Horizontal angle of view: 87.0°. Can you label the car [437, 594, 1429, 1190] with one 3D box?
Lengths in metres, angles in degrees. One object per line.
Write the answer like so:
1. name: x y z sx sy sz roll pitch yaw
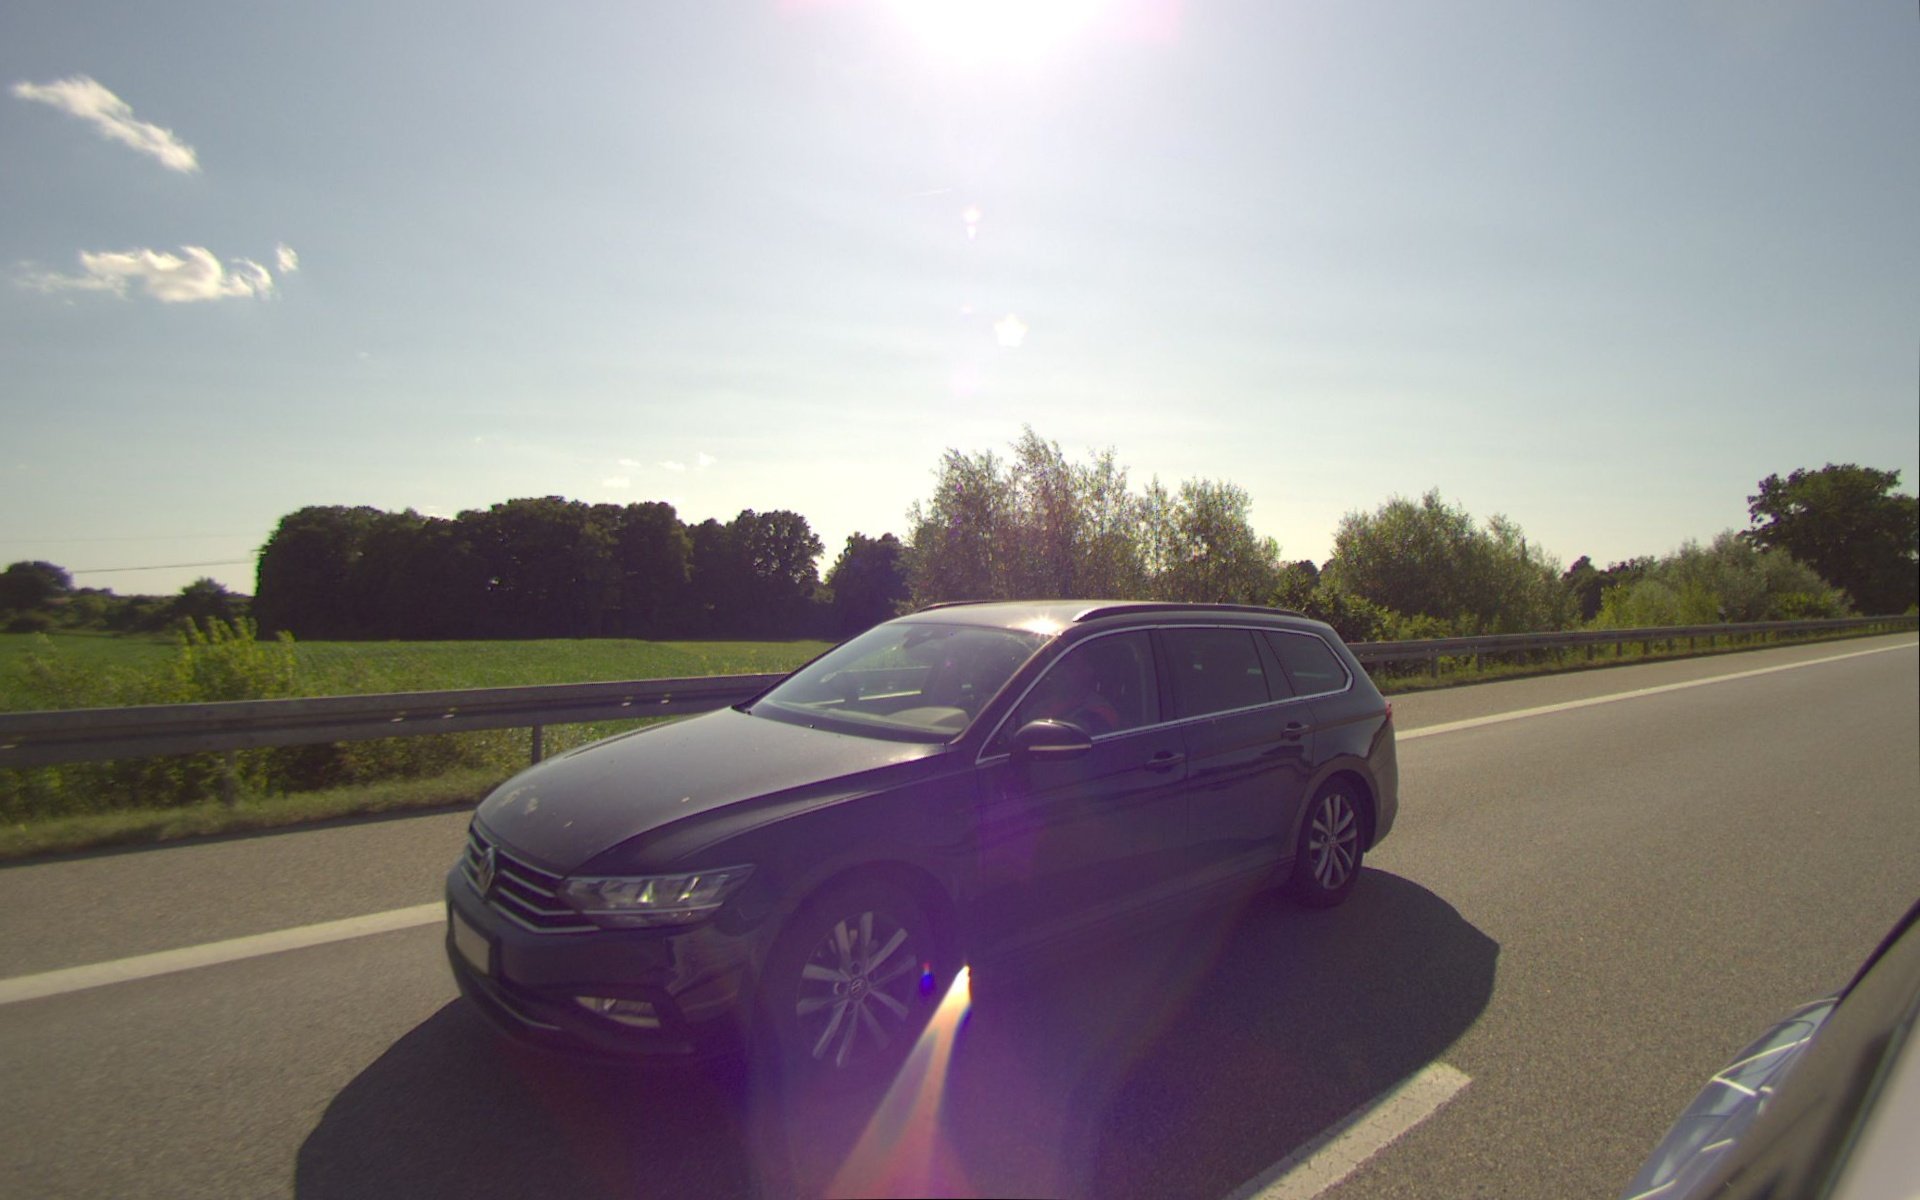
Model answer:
1. car: 0.255 0.685 4.508 4.336 1.417 1.721 0 0 -41
